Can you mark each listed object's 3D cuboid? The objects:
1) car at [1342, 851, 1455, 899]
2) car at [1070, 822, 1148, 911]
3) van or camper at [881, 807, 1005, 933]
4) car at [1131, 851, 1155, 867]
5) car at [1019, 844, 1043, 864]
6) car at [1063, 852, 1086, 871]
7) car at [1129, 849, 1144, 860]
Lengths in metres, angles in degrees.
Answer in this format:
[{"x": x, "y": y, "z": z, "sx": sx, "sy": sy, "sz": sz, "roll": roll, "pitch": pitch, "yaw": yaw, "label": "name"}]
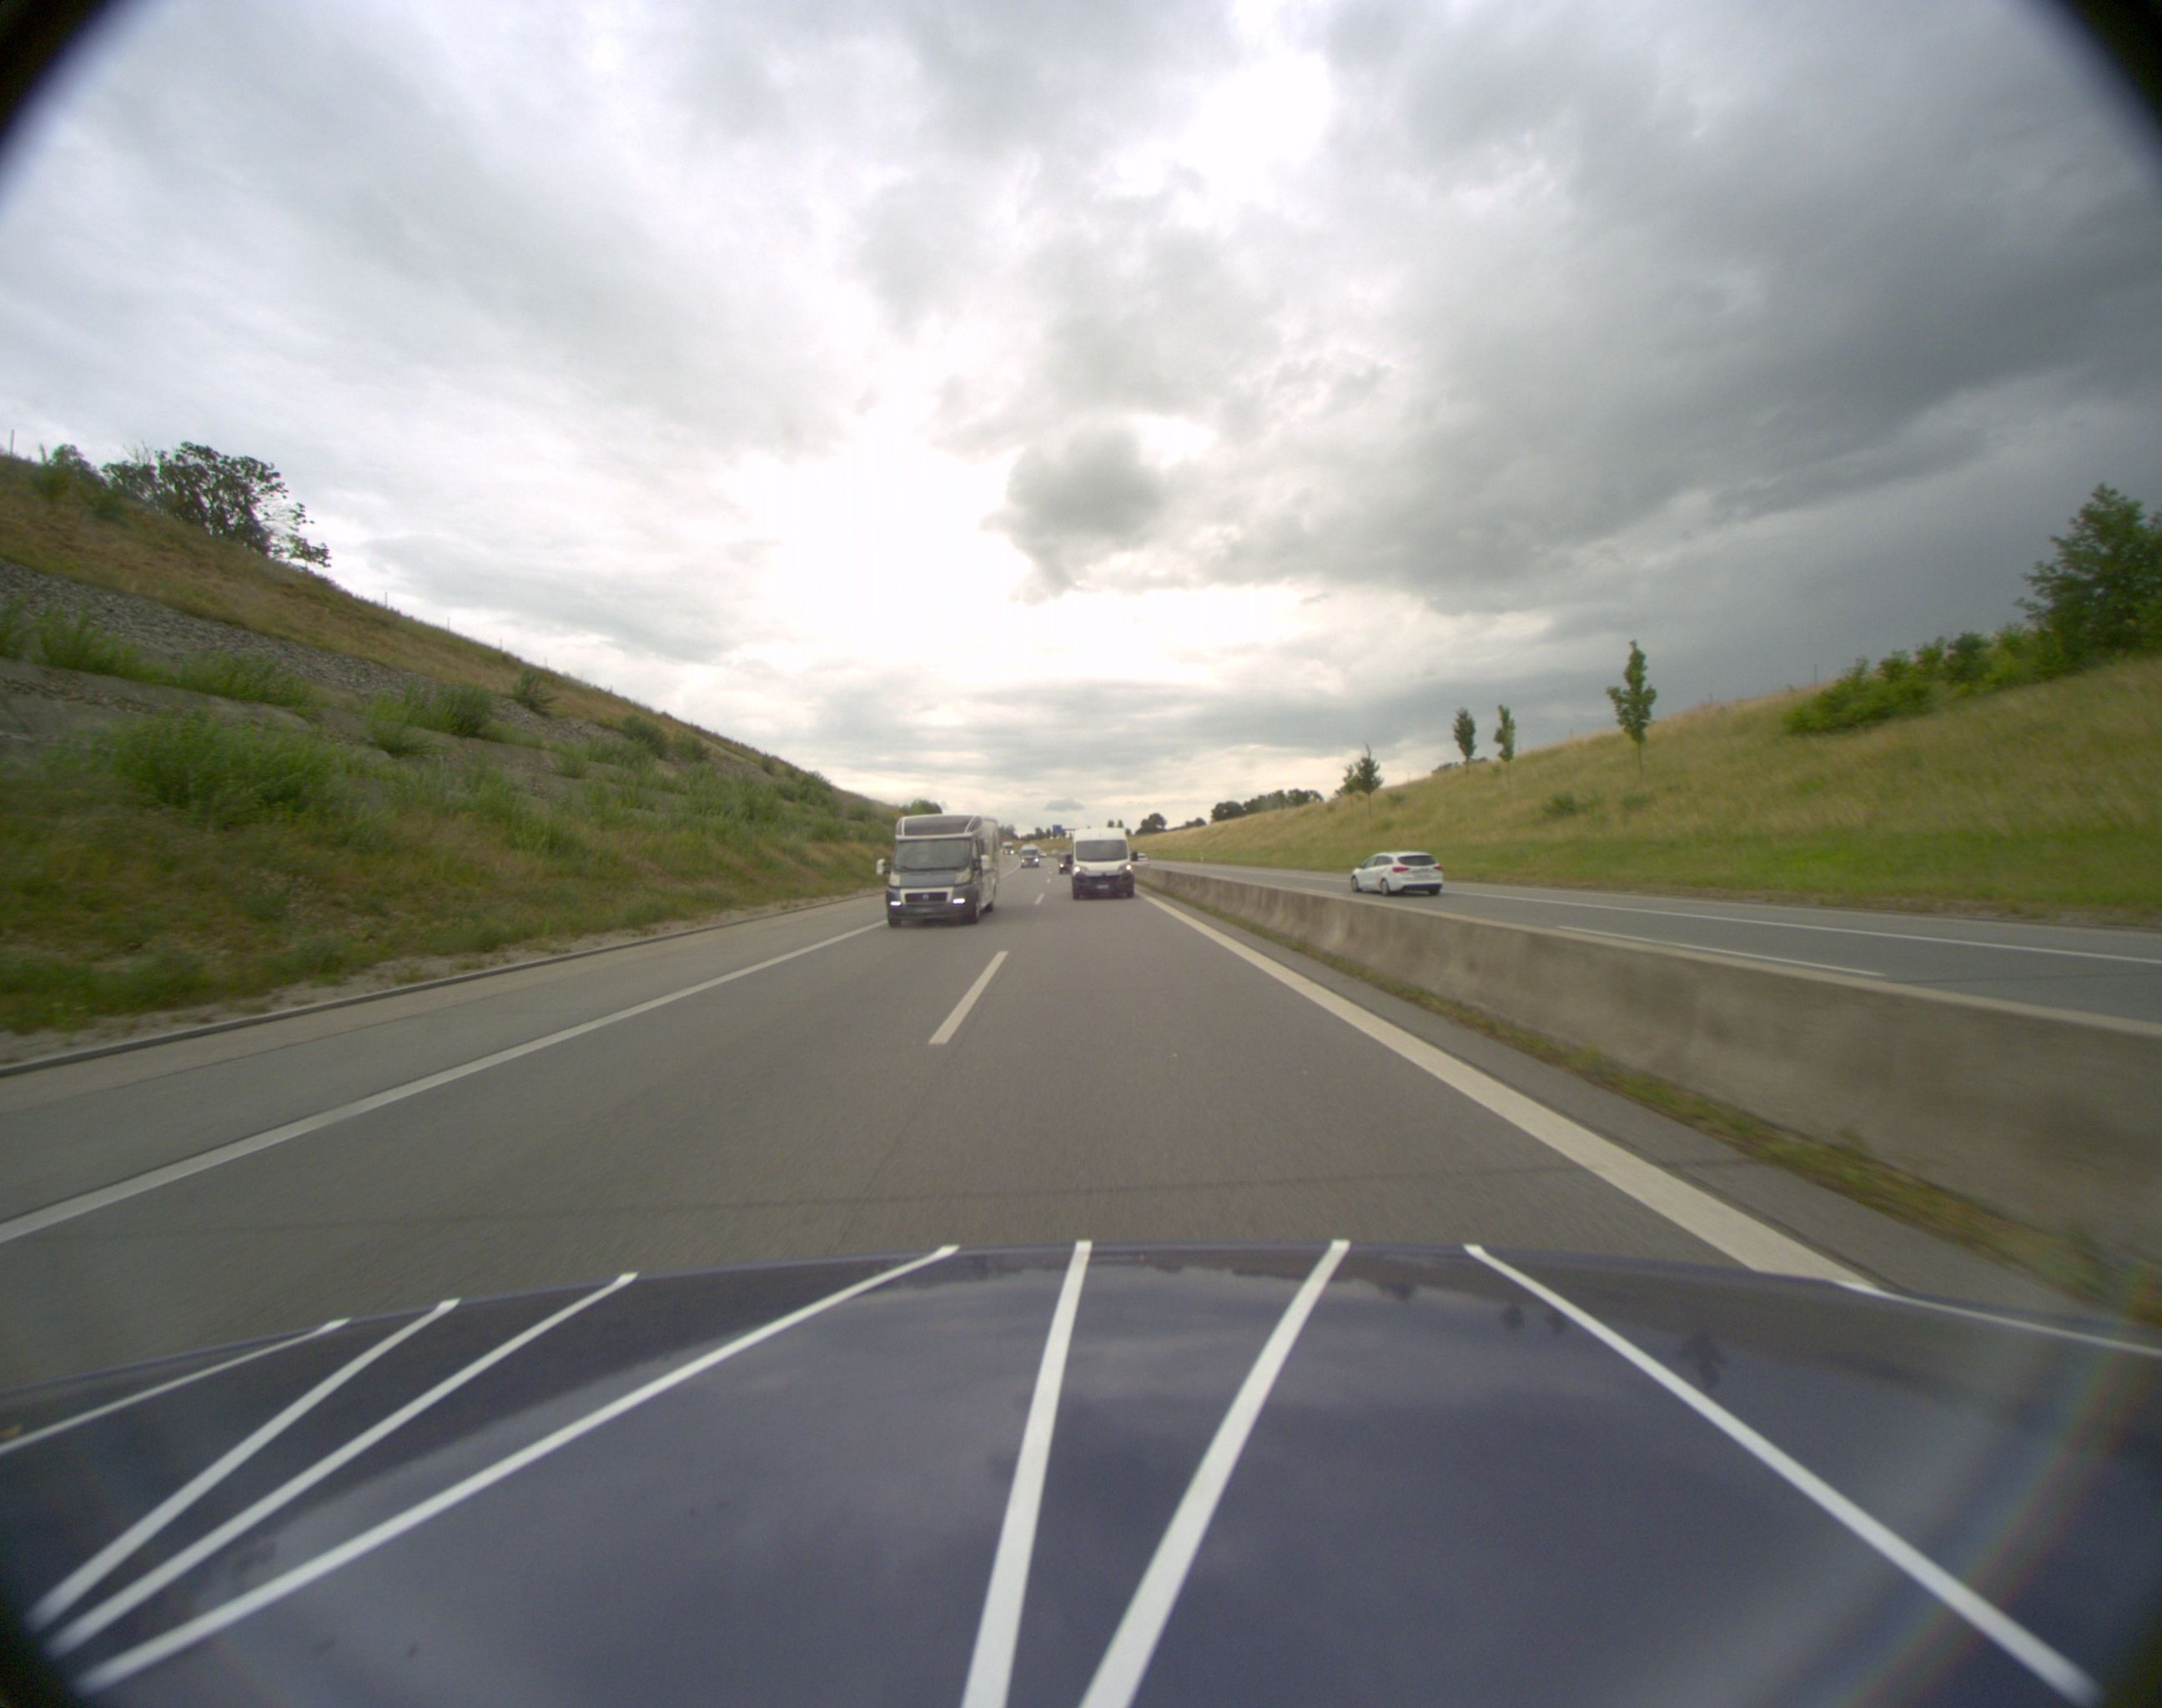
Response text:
[{"x": 10.876, "y": 0.655, "z": 26.465, "sx": 1.778, "sy": 1.432, "sz": 5.014, "roll": -1, "pitch": 0, "yaw": -1, "label": "car"}, {"x": 0.754, "y": 0.332, "z": 24.120, "sx": 2.132, "sy": 2.412, "sz": 6.110, "roll": -1, "pitch": 0, "yaw": 0, "label": "car"}, {"x": -3.391, "y": 0.334, "z": 20.234, "sx": 2.104, "sy": 2.721, "sz": 6.900, "roll": -2, "pitch": 1, "yaw": -1, "label": "van or camper"}, {"x": 5.893, "y": 0.432, "z": 73.195, "sx": 1.788, "sy": 1.402, "sz": 4.908, "roll": -1, "pitch": 0, "yaw": -1, "label": "car"}, {"x": -5.724, "y": -0.014, "z": 88.234, "sx": 2.289, "sy": 2.259, "sz": 6.432, "roll": -1, "pitch": 0, "yaw": 0, "label": "car"}, {"x": -0.532, "y": 0.569, "z": 58.895, "sx": 1.704, "sy": 1.432, "sz": 3.644, "roll": -1, "pitch": 0, "yaw": -2, "label": "car"}, {"x": 7.988, "y": 0.051, "z": 109.067, "sx": 1.704, "sy": 1.432, "sz": 3.644, "roll": -1, "pitch": 0, "yaw": -2, "label": "car"}]
